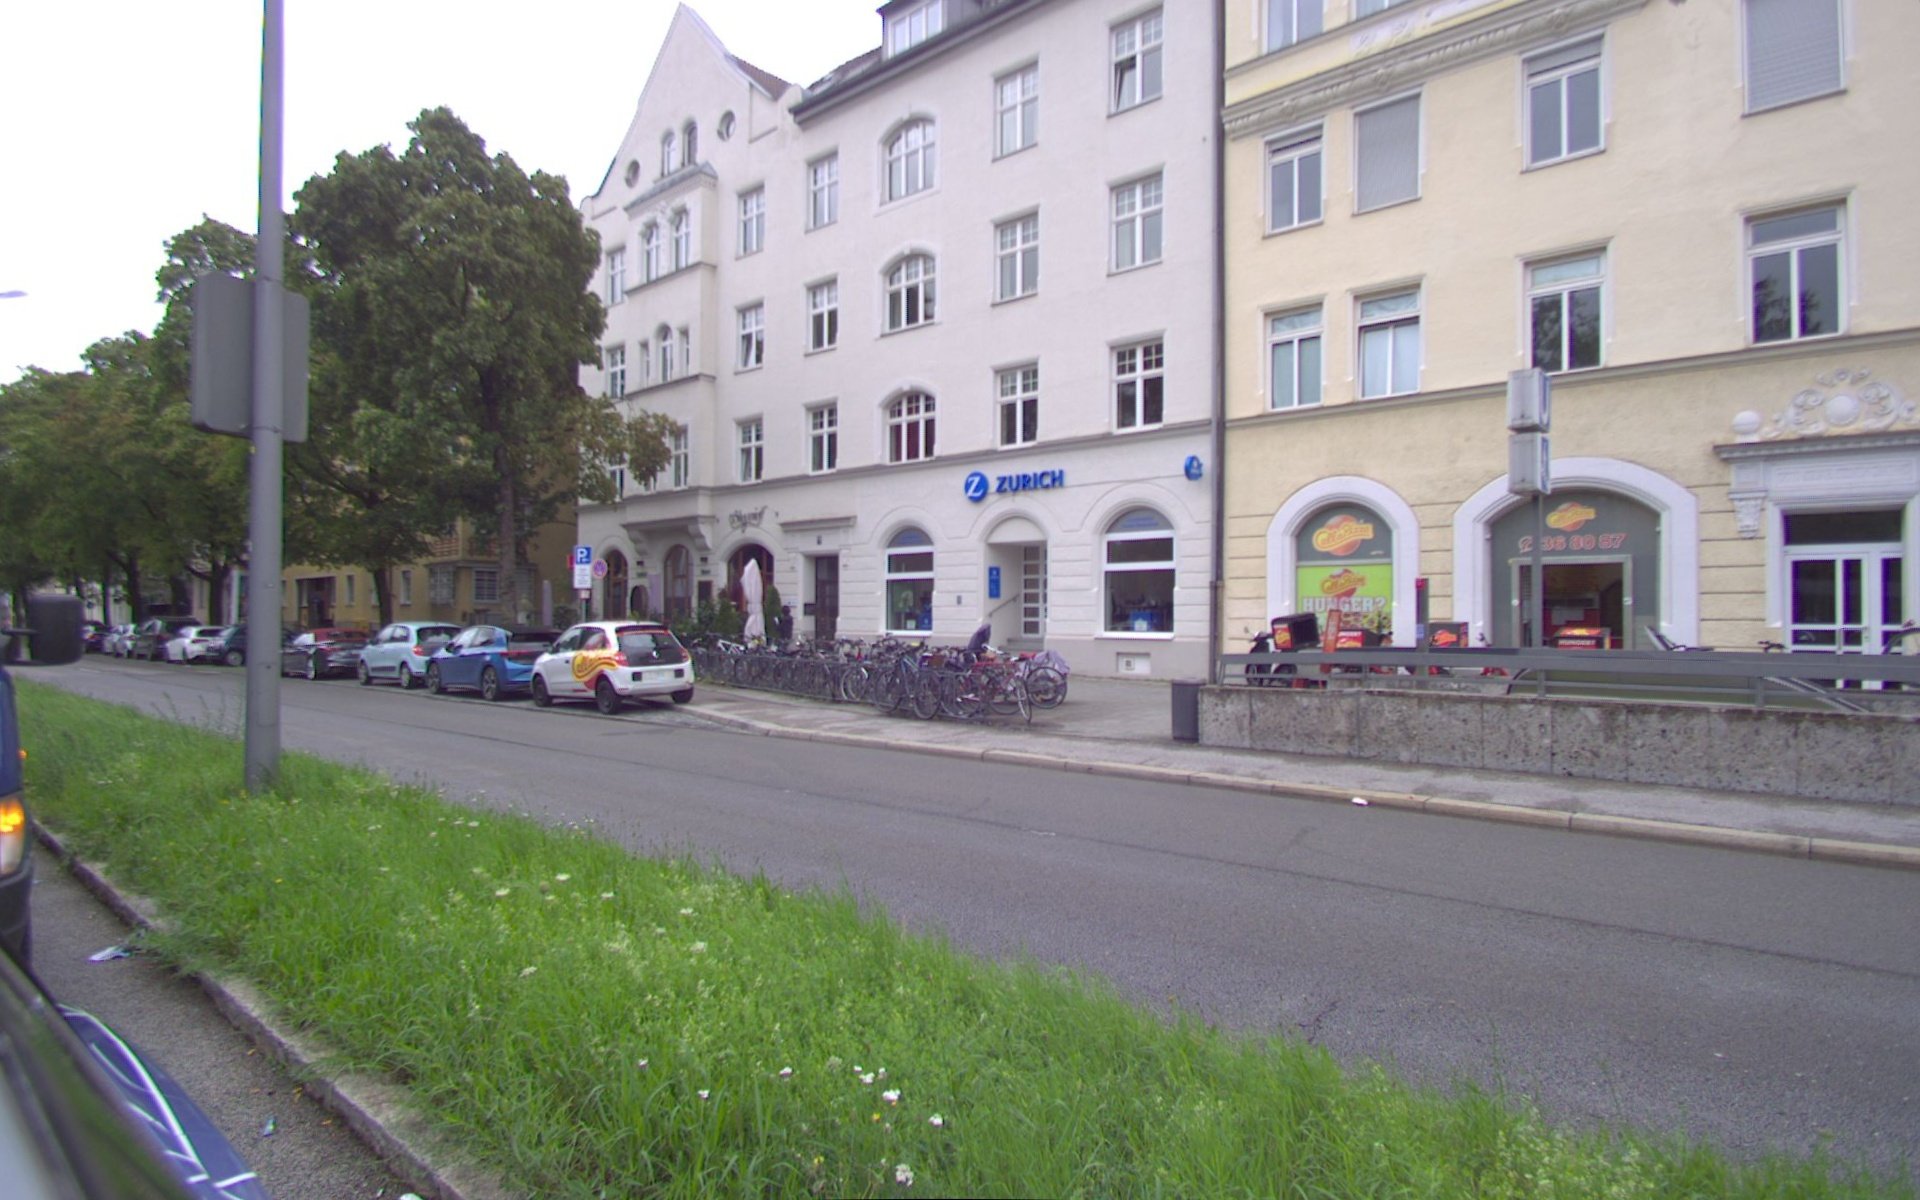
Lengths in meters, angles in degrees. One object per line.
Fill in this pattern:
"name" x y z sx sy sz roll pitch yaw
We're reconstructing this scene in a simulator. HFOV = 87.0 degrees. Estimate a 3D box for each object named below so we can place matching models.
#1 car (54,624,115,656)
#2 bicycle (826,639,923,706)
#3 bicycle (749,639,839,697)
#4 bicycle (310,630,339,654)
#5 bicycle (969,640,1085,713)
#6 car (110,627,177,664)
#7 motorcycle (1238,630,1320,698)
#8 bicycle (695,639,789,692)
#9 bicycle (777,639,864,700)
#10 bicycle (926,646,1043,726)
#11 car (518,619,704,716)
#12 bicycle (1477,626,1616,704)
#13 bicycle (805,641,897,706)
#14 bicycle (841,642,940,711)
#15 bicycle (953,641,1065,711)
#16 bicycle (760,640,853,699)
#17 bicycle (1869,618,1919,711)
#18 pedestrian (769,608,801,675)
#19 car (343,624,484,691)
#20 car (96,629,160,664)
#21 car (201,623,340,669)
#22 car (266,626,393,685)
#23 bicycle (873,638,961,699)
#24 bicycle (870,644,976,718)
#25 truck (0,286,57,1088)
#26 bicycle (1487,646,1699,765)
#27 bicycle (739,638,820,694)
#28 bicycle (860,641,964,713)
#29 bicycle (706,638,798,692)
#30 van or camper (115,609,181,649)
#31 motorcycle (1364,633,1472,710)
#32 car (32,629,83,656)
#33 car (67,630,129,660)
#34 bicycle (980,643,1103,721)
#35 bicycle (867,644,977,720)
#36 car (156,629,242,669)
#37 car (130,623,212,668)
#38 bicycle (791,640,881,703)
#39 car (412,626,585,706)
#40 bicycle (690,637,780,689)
"car" -47.220 2.107 54.549 4.768 1.658 1.859 -1 -2 41
"bicycle" -1.486 1.243 17.547 1.667 1.124 0.380 -1 -2 18
"bicycle" -3.342 1.351 20.346 1.859 1.124 0.328 -1 -2 18
"bicycle" -33.224 2.180 52.888 1.929 1.231 0.762 -1 -2 41
"bicycle" 1.064 1.203 16.161 1.799 1.124 0.394 -1 -2 18
"car" -36.176 2.000 44.808 3.007 1.569 1.710 -1 -2 39
"motorcycle" 5.864 1.153 18.732 0.600 1.139 1.991 0 -1 -9
"bicycle" -4.761 1.413 22.075 1.966 1.124 0.503 -1 -1 10
"bicycle" -2.662 1.316 19.275 1.667 1.124 0.328 -1 -2 18
"bicycle" 0.347 1.231 14.698 1.667 1.124 0.328 -1 -2 18
"car" -6.453 1.150 18.540 3.790 1.597 1.631 -1 -2 43
"bicycle" 7.869 0.850 13.625 1.544 0.988 0.468 -1 -2 41
"bicycle" -1.956 1.307 18.117 1.667 1.124 0.328 -1 -2 18
"bicycle" -1.175 1.267 16.989 1.667 1.124 0.328 -1 -2 18
"bicycle" 0.806 1.237 16.715 1.799 1.124 0.394 -1 -2 18
"bicycle" -3.021 1.350 19.827 1.859 1.124 0.328 -1 -2 18
"bicycle" 10.643 0.680 10.673 1.544 0.988 0.468 -1 -2 41
"pedestrian" -4.392 1.034 25.387 0.416 1.644 0.784 1 -2 -43
"car" -13.501 1.354 24.926 3.958 1.518 1.792 -1 -2 41
"car" -39.177 2.164 47.633 4.055 1.573 1.709 -1 -2 41
"car" -25.093 1.628 36.923 1.730 1.475 3.851 -1 -1 39
"car" -17.898 1.506 28.654 4.643 1.518 1.792 -1 -2 41
"bicycle" -0.822 1.280 19.179 1.667 1.124 0.328 -1 -2 18
"bicycle" -0.590 1.256 15.927 1.667 1.124 0.328 -1 -2 18
"truck" -5.500 0.297 4.211 5.148 2.508 1.973 -1 -2 41
"bicycle" 6.502 1.055 10.477 1.808 1.124 0.392 -1 -2 33
"bicycle" -3.745 1.354 20.957 1.664 1.124 0.329 -1 -1 14
"bicycle" -0.788 1.238 16.413 1.667 1.124 0.365 -1 -2 18
"bicycle" -4.429 1.377 21.538 1.860 1.124 0.548 -1 -1 10
"van or camper" -55.094 1.935 68.632 6.847 2.599 2.321 -1 -2 41
"motorcycle" 7.456 1.127 16.582 0.600 1.130 1.991 0 -1 -9
"car" -51.970 2.414 58.256 4.490 1.465 1.674 -1 -2 41
"car" -42.928 2.203 50.386 4.361 1.416 1.709 -1 -2 41
"bicycle" 1.219 1.208 15.160 1.799 1.124 0.394 -1 -2 18
"bicycle" -0.594 1.236 15.516 1.667 1.124 0.366 -1 -2 18
"car" -28.691 1.808 38.113 4.401 1.413 1.708 -1 -2 41
"car" -32.713 1.840 41.916 4.765 1.741 1.791 -1 -2 41
"bicycle" -2.294 1.312 18.717 1.667 1.124 0.328 -1 -2 18
"car" -9.954 1.333 21.696 4.289 1.518 1.792 -1 -2 41
"bicycle" -5.032 1.400 22.668 1.944 1.124 0.457 -1 -1 10
